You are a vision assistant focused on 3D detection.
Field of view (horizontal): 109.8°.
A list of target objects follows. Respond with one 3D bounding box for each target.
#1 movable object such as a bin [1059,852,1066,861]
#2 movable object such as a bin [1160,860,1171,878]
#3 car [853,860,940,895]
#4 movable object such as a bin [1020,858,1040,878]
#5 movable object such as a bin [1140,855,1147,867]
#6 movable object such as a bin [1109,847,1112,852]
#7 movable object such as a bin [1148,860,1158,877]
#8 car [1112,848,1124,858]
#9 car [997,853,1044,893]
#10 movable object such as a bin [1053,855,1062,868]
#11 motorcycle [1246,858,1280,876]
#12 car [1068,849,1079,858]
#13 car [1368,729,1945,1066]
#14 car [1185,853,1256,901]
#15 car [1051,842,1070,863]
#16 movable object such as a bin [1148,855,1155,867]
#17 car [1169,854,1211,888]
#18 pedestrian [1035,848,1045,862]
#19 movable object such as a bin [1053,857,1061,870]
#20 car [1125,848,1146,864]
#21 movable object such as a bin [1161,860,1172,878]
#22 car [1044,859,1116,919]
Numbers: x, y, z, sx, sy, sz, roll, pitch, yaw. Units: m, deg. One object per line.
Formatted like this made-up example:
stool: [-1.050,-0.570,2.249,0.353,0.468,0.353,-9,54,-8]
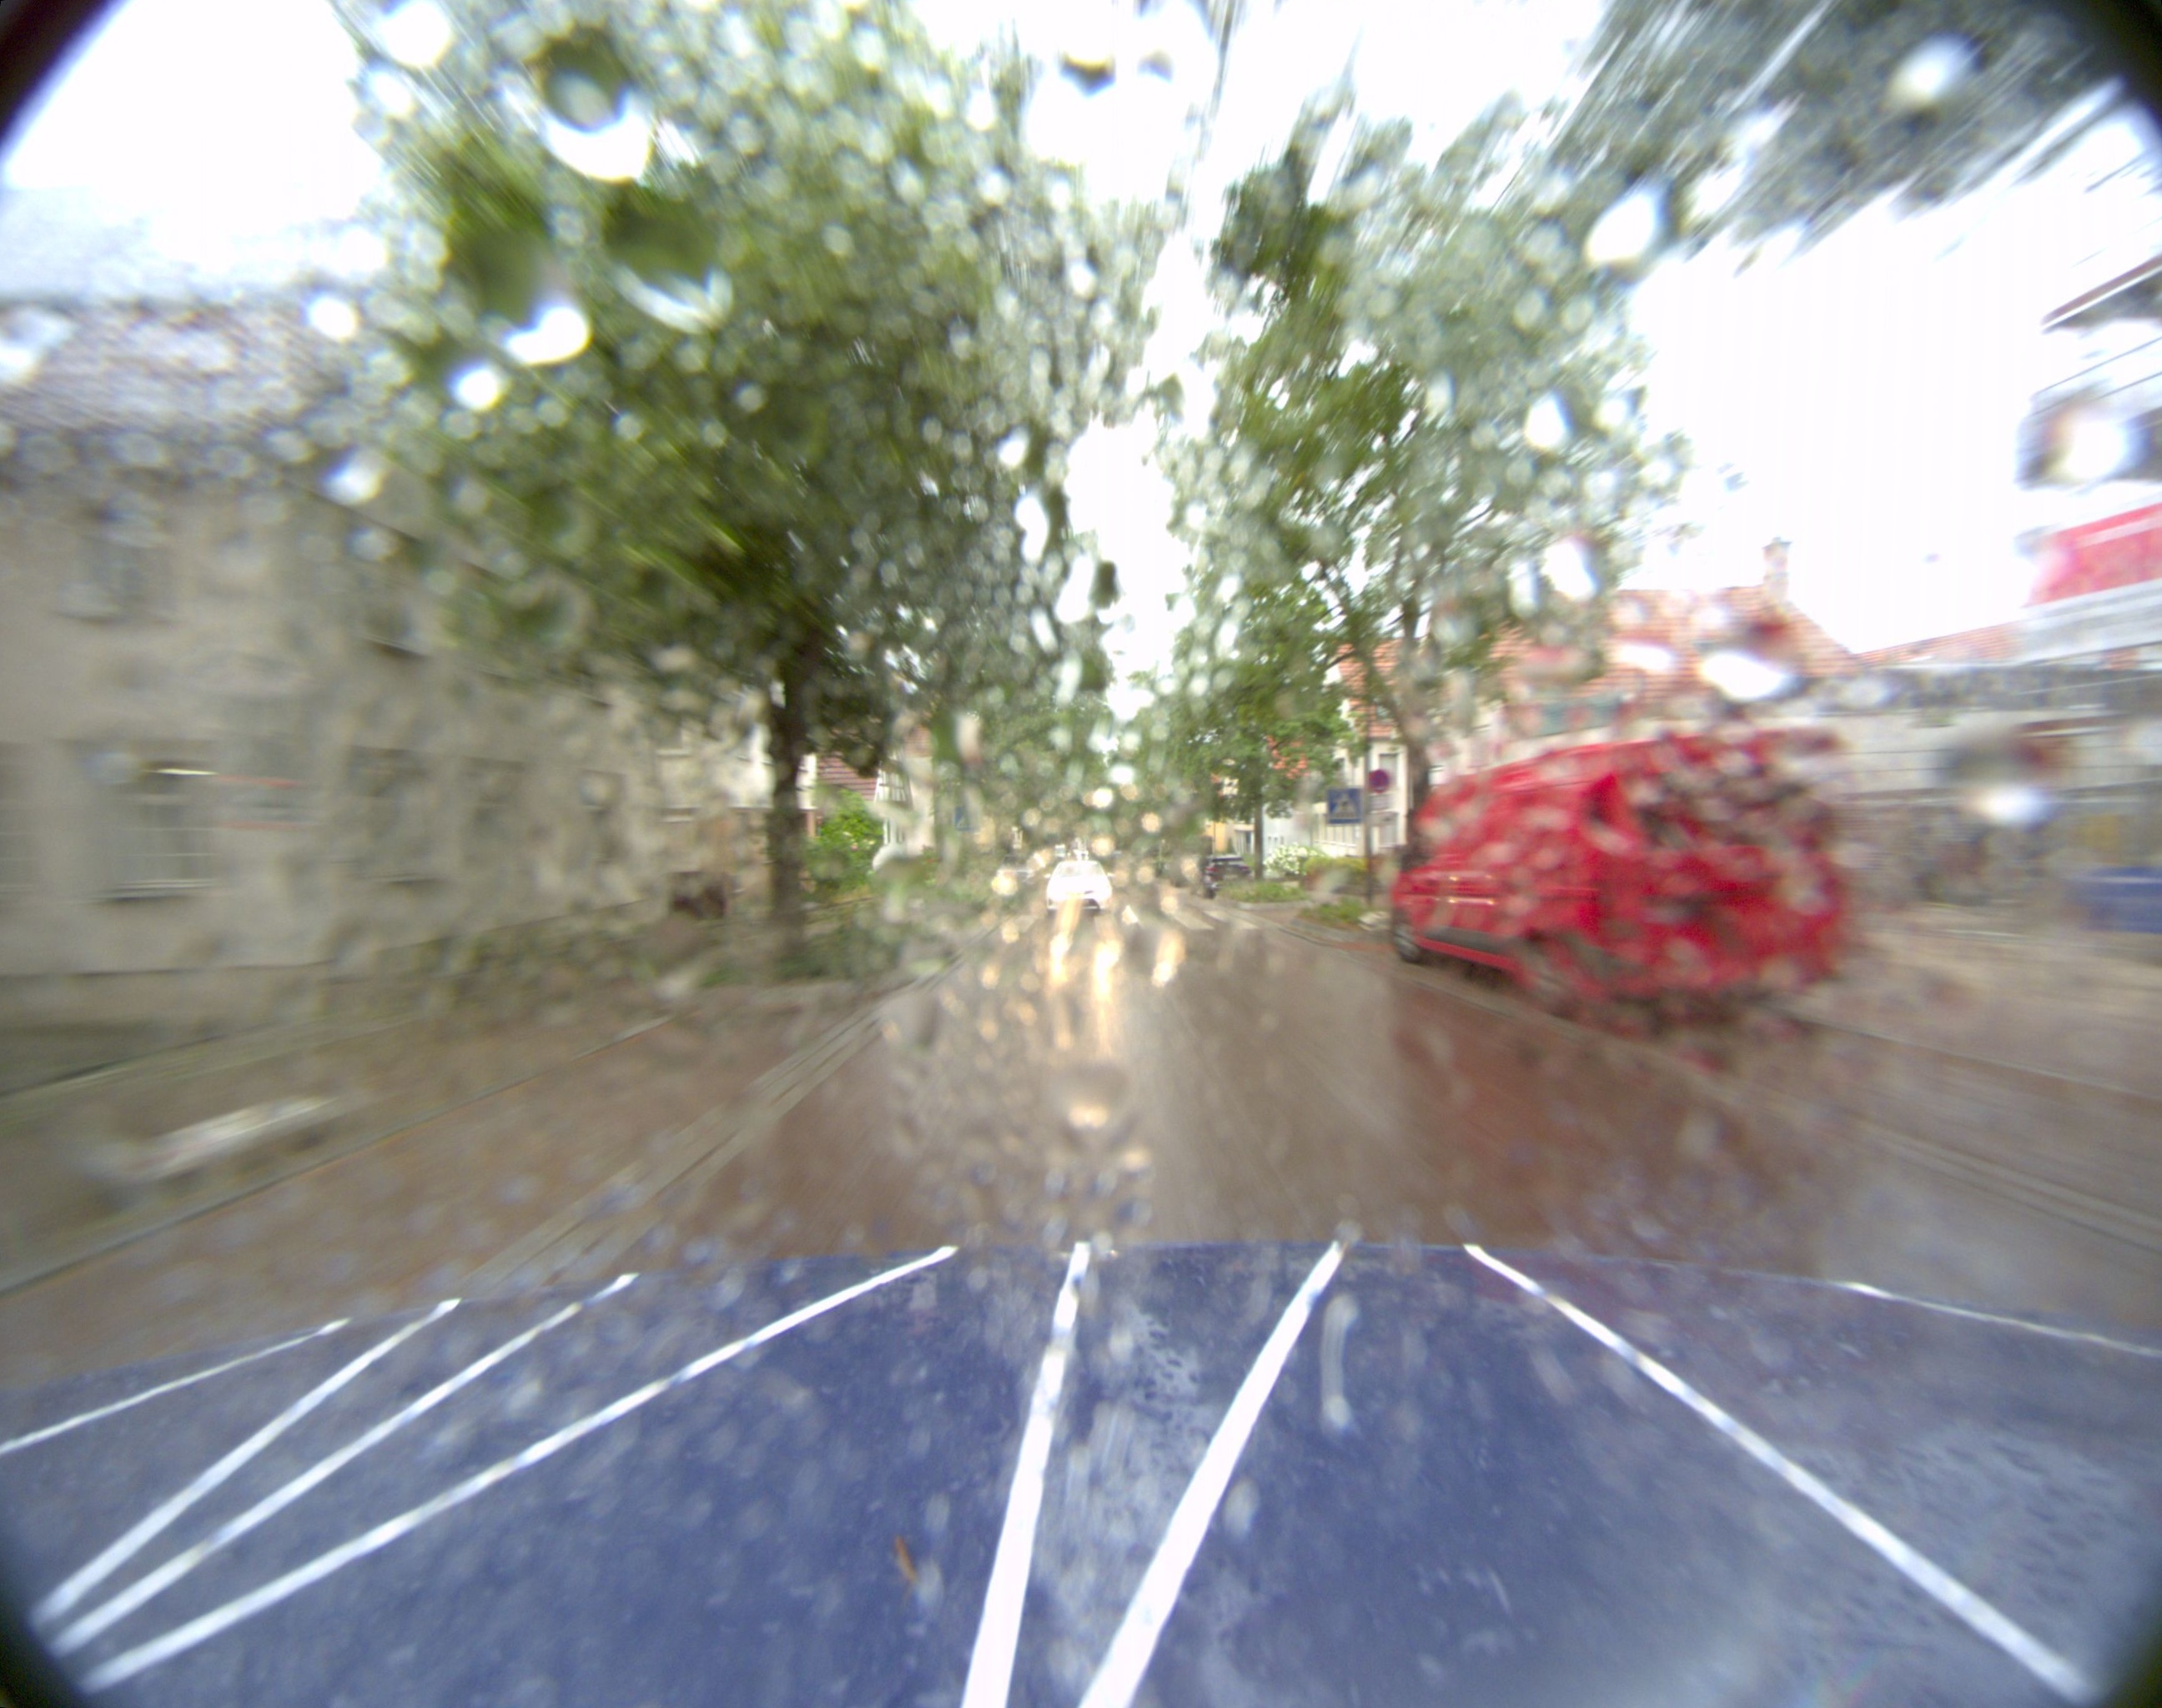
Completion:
movable object such as a bin: [-2.107,0.288,86.439,0.799,1.069,0.878,-2,1,0]
movable object such as a bin: [5.483,0.968,49.394,0.612,1.104,0.564,-1,0,2]
car: [-7.842,0.979,32.562,3.374,1.422,1.630,0,1,-3]
movable object such as a bin: [-3.460,0.951,51.717,1.227,1.308,1.134,-1,1,3]
movable object such as a bin: [5.618,0.627,68.395,0.596,1.056,0.545,-4,0,4]
movable object such as a bin: [6.129,-0.962,157.861,0.618,1.053,0.568,-4,1,-1]
movable object such as a bin: [4.694,0.945,49.472,0.644,1.104,0.536,-1,0,2]
car: [5.462,-0.223,112.649,1.754,1.388,3.795,-2,1,1]
car: [-2.926,0.868,37.790,1.919,1.782,4.488,-2,1,0]
movable object such as a bin: [-2.095,0.661,67.892,0.690,1.076,0.540,-1,1,-4]
motorcycle: [11.782,0.850,49.284,1.987,1.155,0.818,-1,0,1]
car: [-1.221,-0.056,124.104,1.685,1.391,3.794,-1,1,0]
car: [5.391,0.359,8.589,2.309,2.468,5.786,-2,0,3]
car: [5.116,0.805,28.341,1.776,1.544,3.999,-3,0,-1]
car: [-2.479,-0.240,95.060,2.146,2.446,5.434,-2,1,0]
movable object such as a bin: [6.370,0.630,68.488,0.596,1.056,0.545,-3,1,4]
car: [5.400,0.829,37.920,1.651,1.524,3.866,-2,0,2]
pedestrian: [-4.748,0.087,87.687,0.955,1.642,0.794,0,2,14]
movable object such as a bin: [-2.053,0.821,65.906,0.645,1.076,0.540,-2,1,-3]
car: [5.365,0.189,75.267,1.776,1.381,4.545,-3,0,2]
movable object such as a bin: [5.476,0.959,48.620,0.612,1.104,0.564,-1,0,2]
car: [0.045,0.941,21.786,1.828,1.451,3.875,-2,0,2]
